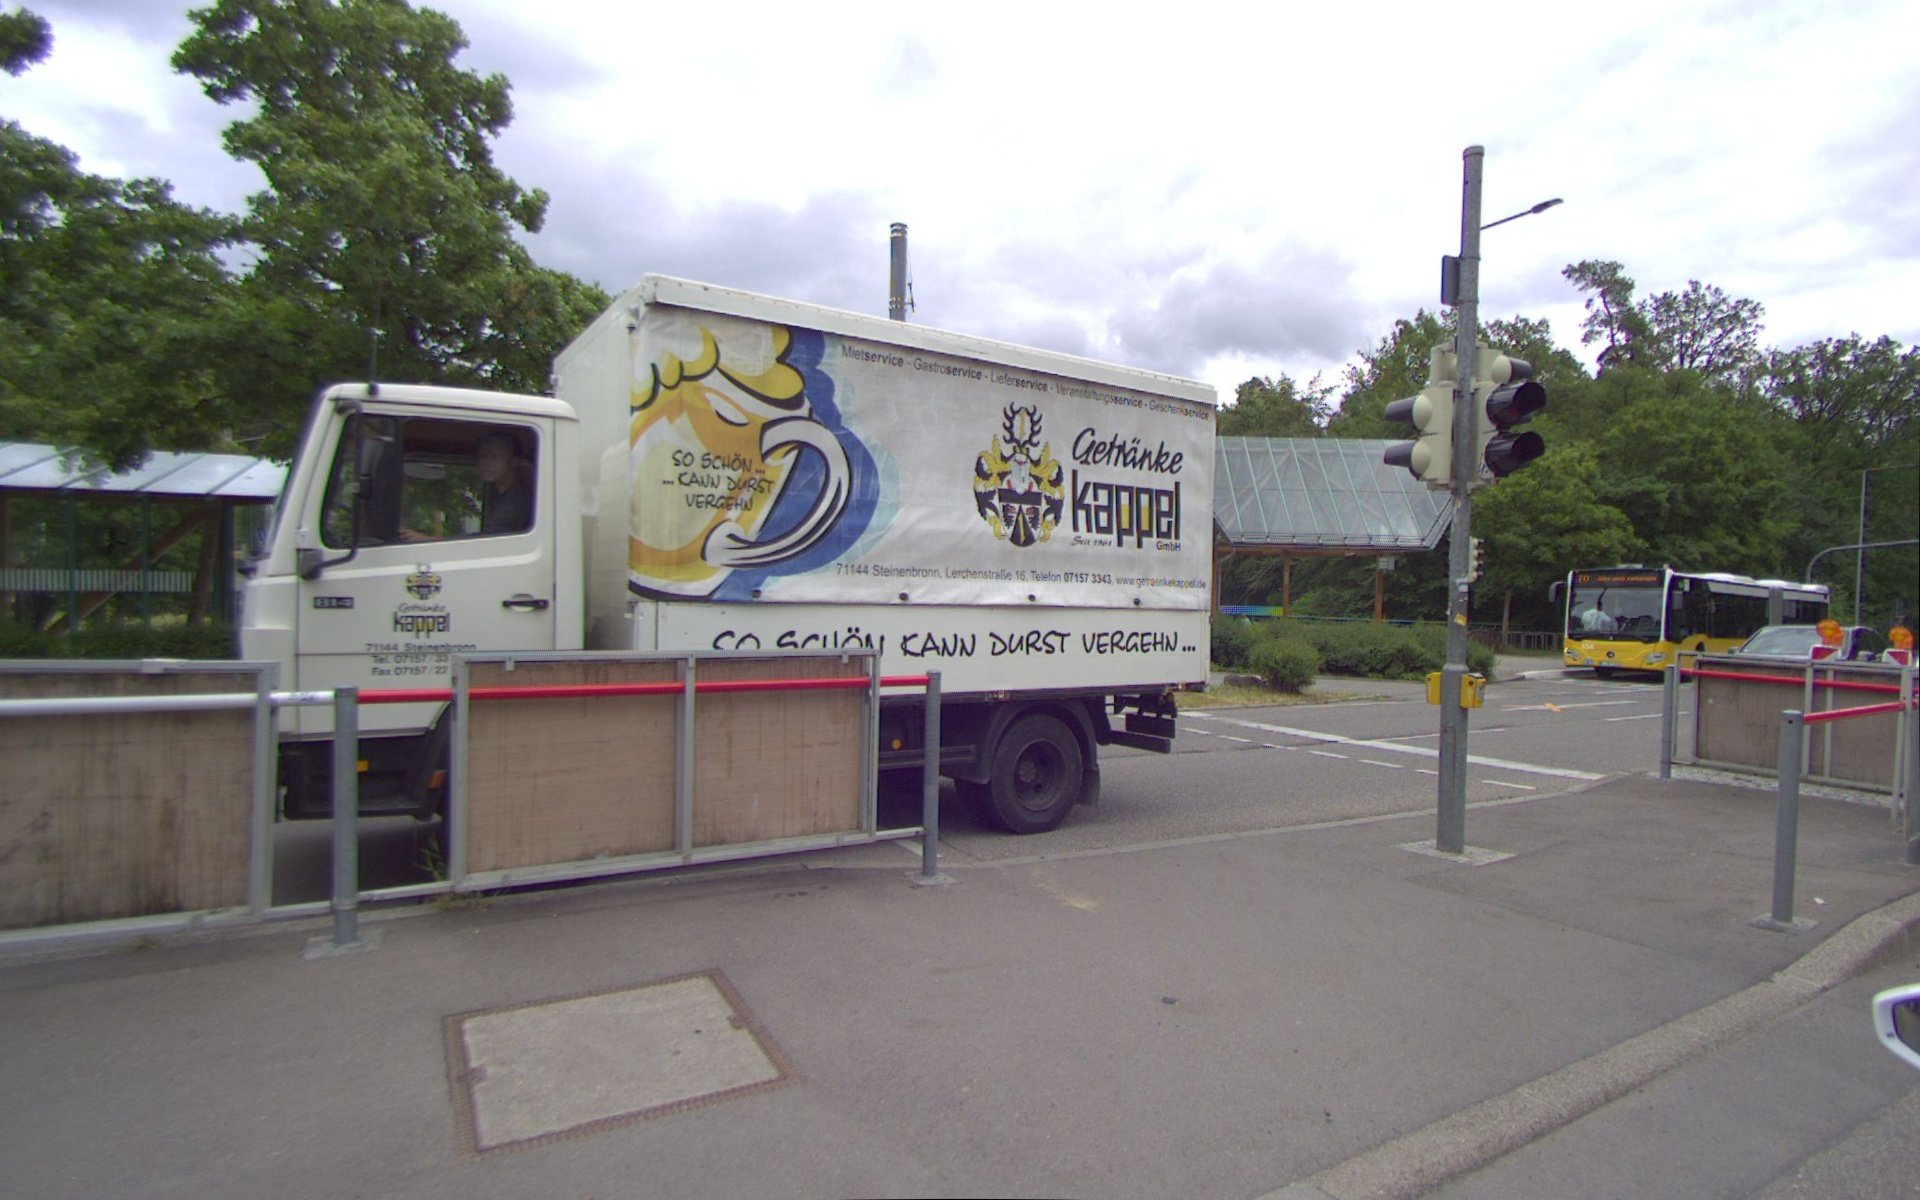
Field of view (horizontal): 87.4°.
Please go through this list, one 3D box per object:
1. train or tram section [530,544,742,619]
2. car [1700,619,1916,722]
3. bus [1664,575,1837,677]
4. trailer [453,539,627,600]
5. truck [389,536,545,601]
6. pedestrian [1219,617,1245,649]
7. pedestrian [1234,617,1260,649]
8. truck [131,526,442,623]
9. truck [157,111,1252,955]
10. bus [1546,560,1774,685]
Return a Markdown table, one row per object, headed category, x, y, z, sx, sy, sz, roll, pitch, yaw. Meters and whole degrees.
| category | x | y | z | sx | sy | sz | roll | pitch | yaw |
| --- | --- | --- | --- | --- | --- | --- | --- | --- | --- |
| train or tram section | -22.334 | -1.323 | 71.908 | 3.516 | 4.595 | 18.679 | 3 | 2 | 20 |
| car | 14.548 | 1.164 | 17.166 | 4.265 | 1.529 | 1.796 | 3 | -1 | -35 |
| bus | 27.996 | 0.896 | 35.402 | 8.619 | 3.169 | 2.876 | 2 | 0 | -39 |
| trailer | -29.697 | -2.085 | 71.956 | 3.718 | 3.934 | 11.851 | 3 | 2 | 27 |
| truck | -32.434 | -2.030 | 66.490 | 3.718 | 3.934 | 8.759 | 3 | 2 | 27 |
| pedestrian | 8.726 | 1.062 | 32.244 | 0.557 | 0.997 | 0.546 | 1 | 2 | -20 |
| pedestrian | 9.288 | 1.074 | 32.514 | 0.557 | 0.997 | 0.555 | 1 | 2 | -21 |
| truck | -17.337 | -0.644 | 26.288 | 2.563 | 2.199 | 6.284 | 3 | 2 | 34 |
| truck | -1.183 | -0.178 | 6.677 | 6.139 | 3.281 | 2.614 | 2 | -1 | -33 |
| bus | 20.873 | 0.663 | 29.651 | 9.676 | 3.169 | 2.876 | 2 | 0 | -39 |
